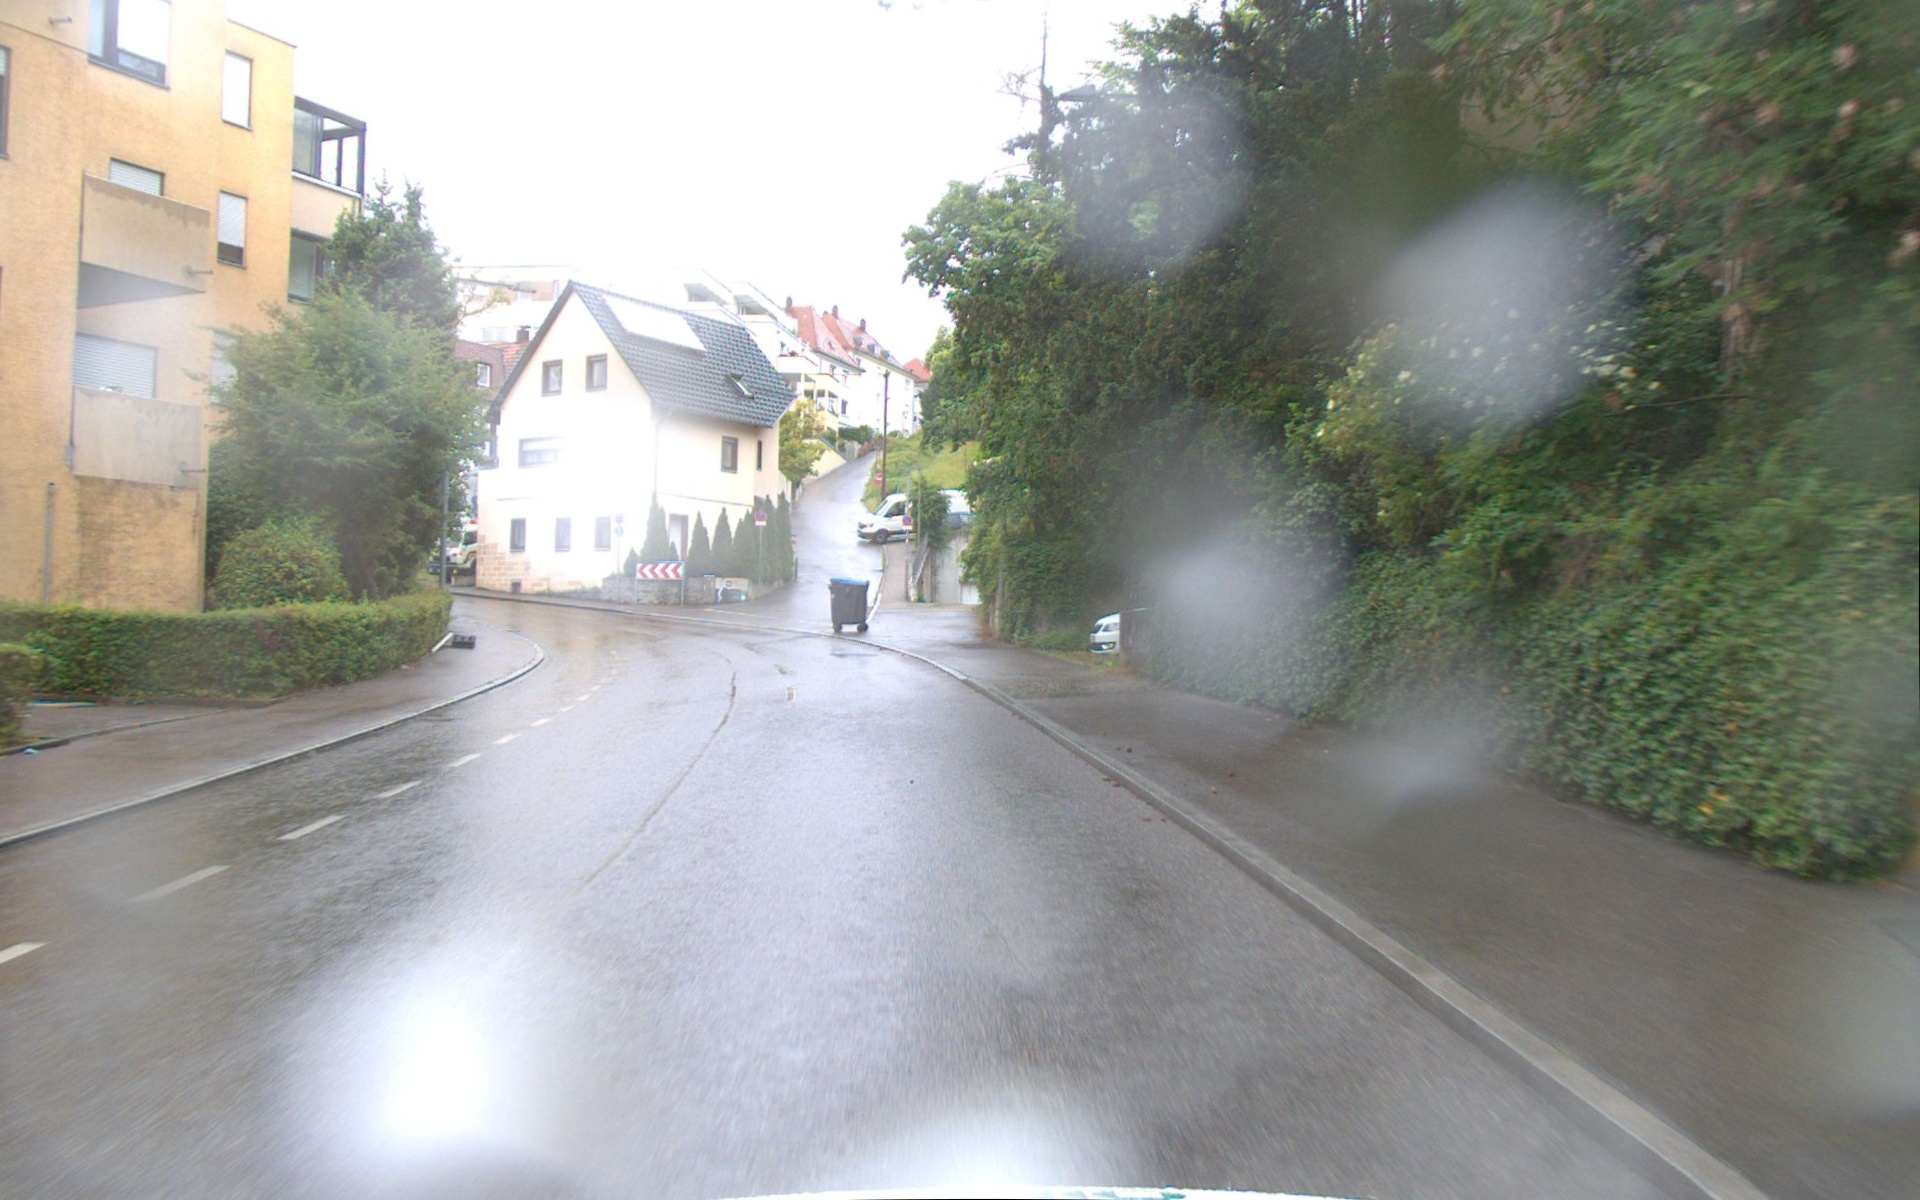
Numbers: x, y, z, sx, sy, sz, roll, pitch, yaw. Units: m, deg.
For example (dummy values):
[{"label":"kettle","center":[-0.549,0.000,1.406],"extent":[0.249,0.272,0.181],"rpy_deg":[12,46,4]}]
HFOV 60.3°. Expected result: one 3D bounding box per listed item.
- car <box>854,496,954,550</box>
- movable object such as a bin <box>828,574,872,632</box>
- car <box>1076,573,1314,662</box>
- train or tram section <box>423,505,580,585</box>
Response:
[{"label":"car","center":[-2.889,-3.932,84.874],"extent":[4.855,2.614,1.899],"rpy_deg":[-2,1,-12]},{"label":"movable object such as a bin","center":[-2.905,0.062,43.760],"extent":[1.060,1.467,1.457],"rpy_deg":[2,1,-2]},{"label":"car","center":[4.328,0.289,30.822],"extent":[4.062,1.502,1.903],"rpy_deg":[-1,1,-5]},{"label":"train or tram section","center":[-19.682,-2.307,71.377],"extent":[2.315,3.259,6.856],"rpy_deg":[1,1,30]}]
